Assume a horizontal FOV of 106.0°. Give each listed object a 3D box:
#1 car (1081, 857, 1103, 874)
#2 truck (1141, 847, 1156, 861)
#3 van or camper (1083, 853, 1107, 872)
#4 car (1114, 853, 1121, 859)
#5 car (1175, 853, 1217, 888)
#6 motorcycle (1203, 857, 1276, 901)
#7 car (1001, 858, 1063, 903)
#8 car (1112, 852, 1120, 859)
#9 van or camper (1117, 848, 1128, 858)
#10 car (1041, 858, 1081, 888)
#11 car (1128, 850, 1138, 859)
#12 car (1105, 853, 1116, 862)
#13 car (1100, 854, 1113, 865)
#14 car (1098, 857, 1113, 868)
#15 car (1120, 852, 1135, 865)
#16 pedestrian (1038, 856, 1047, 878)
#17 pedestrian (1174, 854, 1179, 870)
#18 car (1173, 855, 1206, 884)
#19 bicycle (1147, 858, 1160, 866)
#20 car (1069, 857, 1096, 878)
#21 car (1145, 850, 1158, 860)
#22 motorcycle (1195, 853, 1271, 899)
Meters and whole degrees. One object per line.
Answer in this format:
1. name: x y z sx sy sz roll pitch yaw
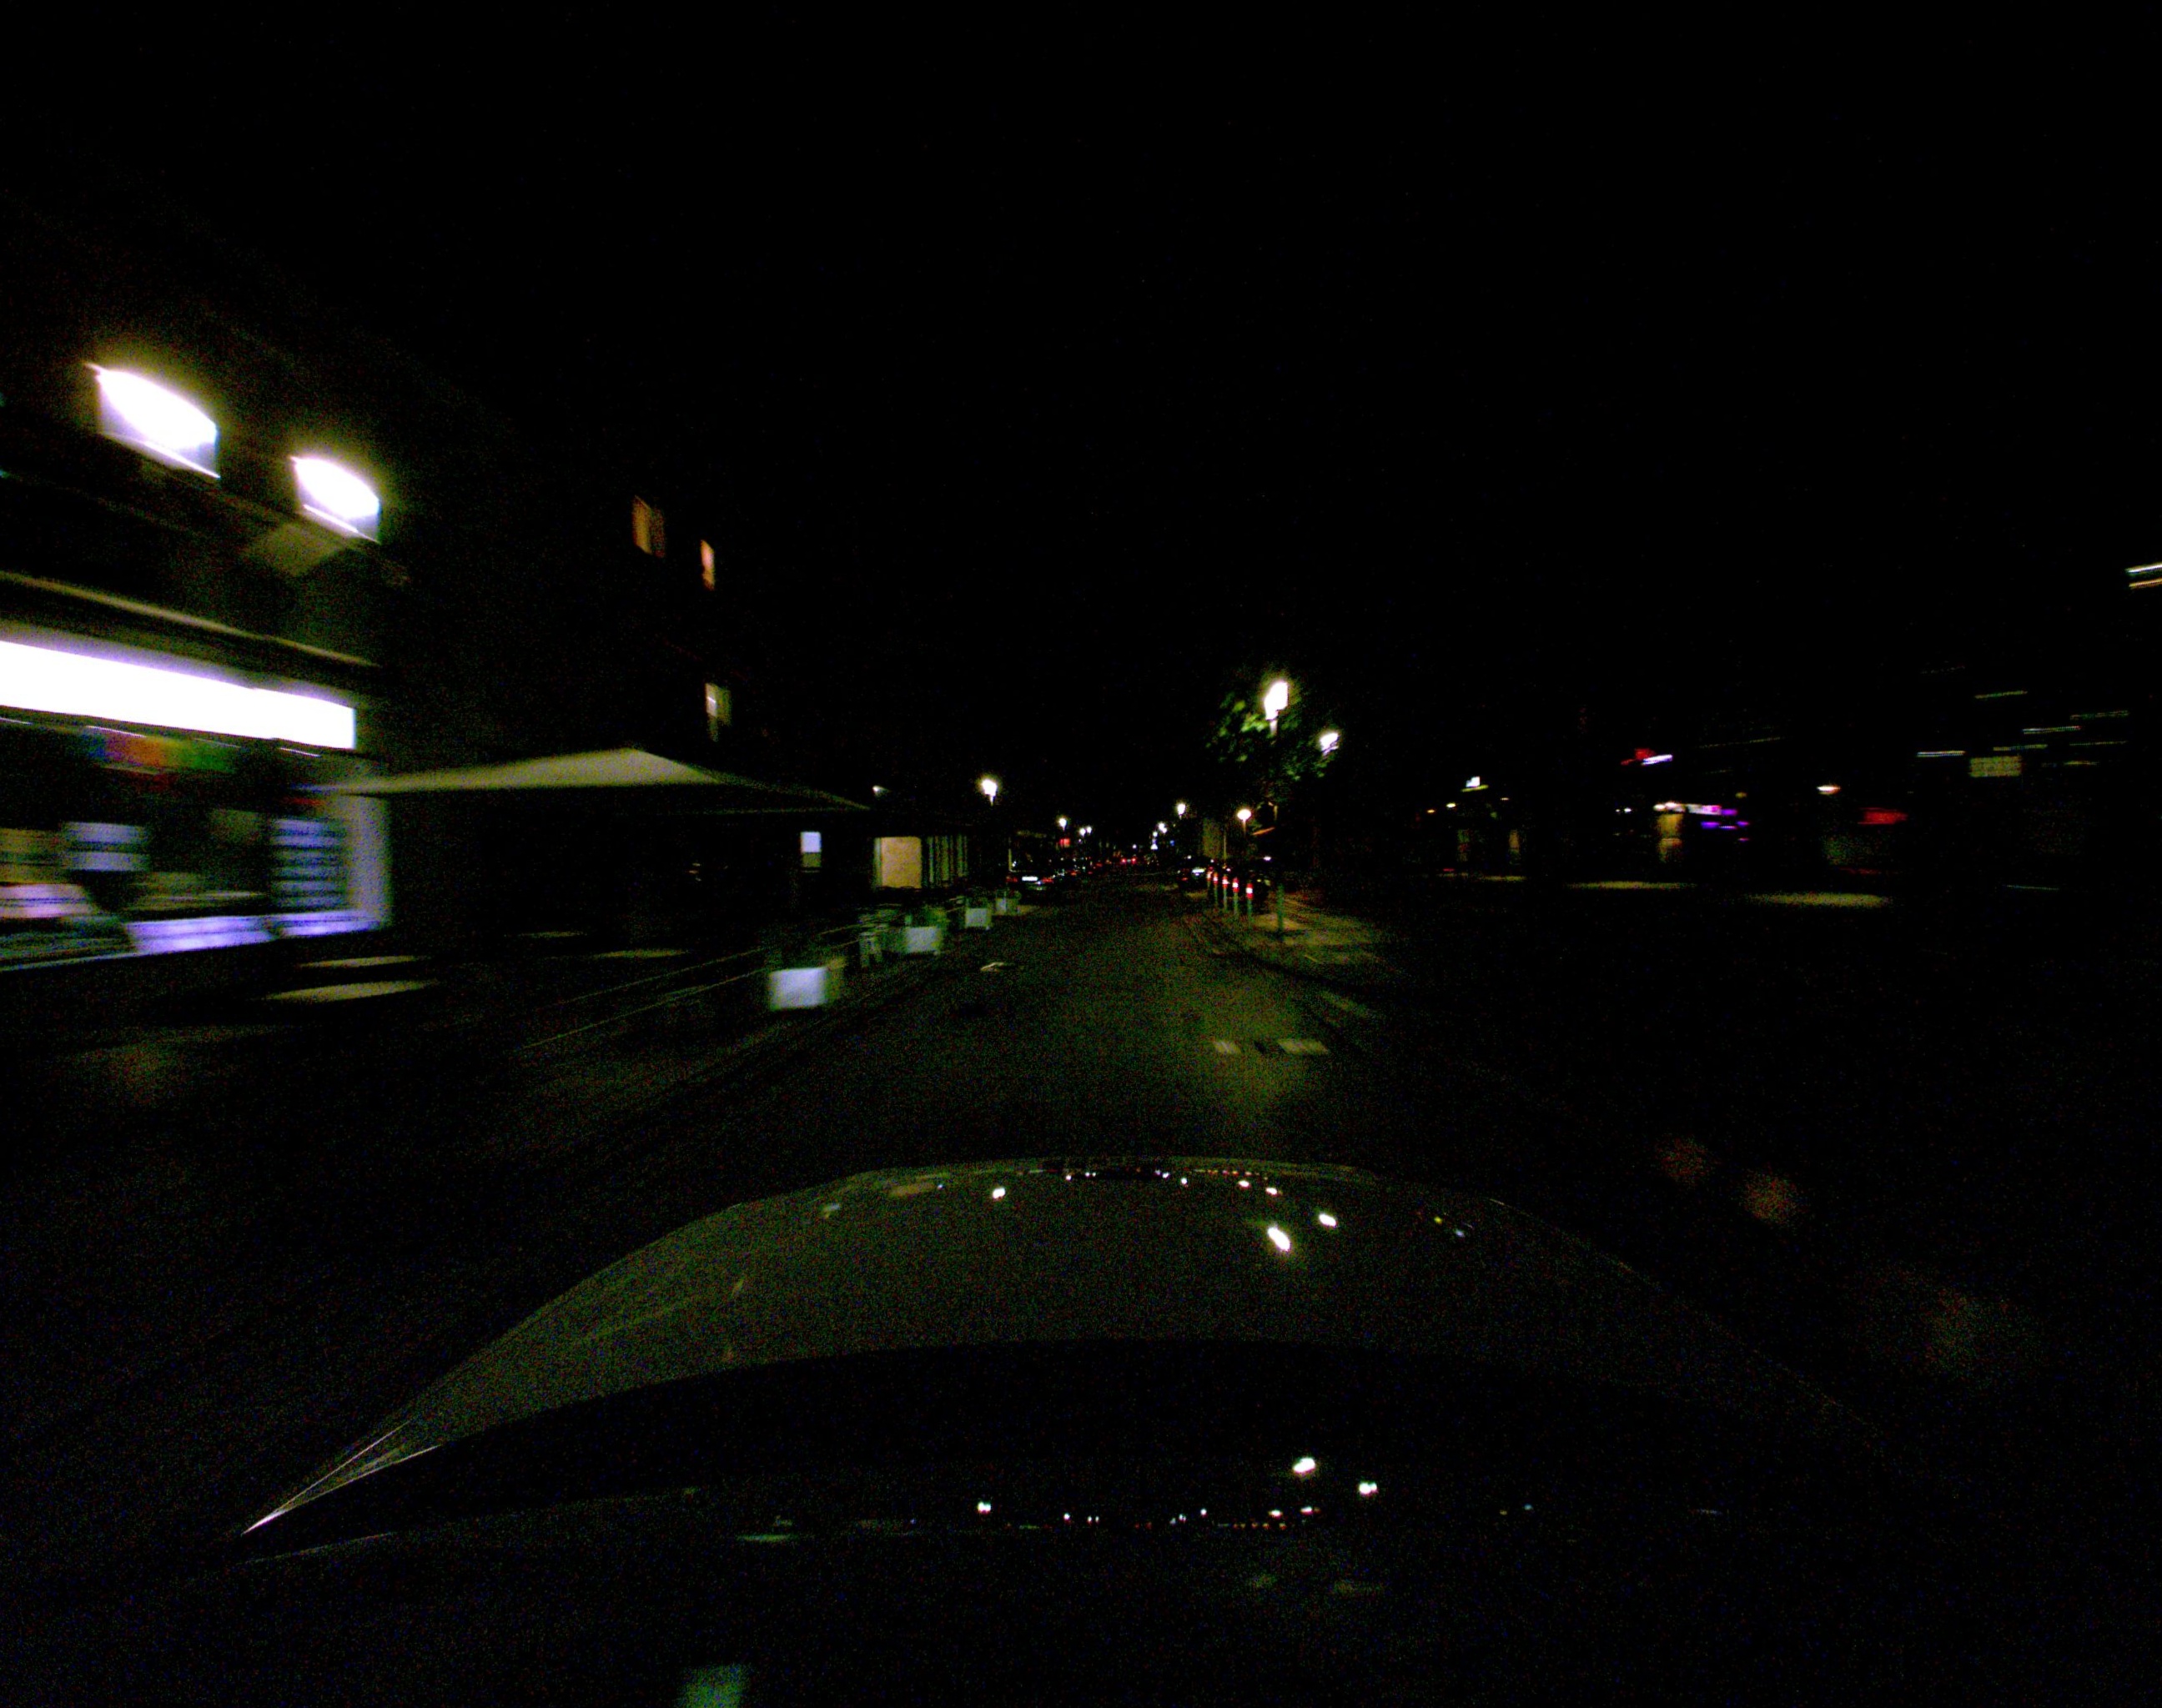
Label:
1. car: 1.001 1.014 73.851 1.709 1.413 4.390 0 0 4
2. truck: 11.633 -0.075 141.025 2.327 2.312 5.785 -2 0 3
3. van or camper: 1.524 0.911 86.035 1.835 1.942 5.166 -1 0 9
4. car: 9.564 0.458 215.299 1.527 1.418 3.842 -2 0 -2
5. car: 5.348 0.751 38.221 1.744 1.464 4.475 -3 -1 7
6. motorcycle: 4.764 0.765 24.591 2.143 1.297 0.519 -3 -1 41
7. car: -1.690 0.901 29.657 1.893 1.470 4.525 -1 0 1
8. car: 9.484 0.370 221.642 1.835 1.901 3.842 -2 0 -2
9. van or camper: 10.254 -0.202 202.482 2.104 2.317 4.256 -3 0 -4
10. car: -0.977 0.924 41.310 1.838 1.464 4.623 0 0 1
11. car: 11.244 0.116 176.507 1.811 1.828 4.342 -2 0 -3
12. car: 5.333 0.675 145.933 1.669 1.543 4.226 -1 0 -3
13. car: 3.481 0.694 112.357 1.721 1.477 3.849 0 0 2
14. car: 3.562 1.206 117.871 2.011 1.488 5.011 1 0 3
15. car: 6.585 0.620 115.721 1.986 1.823 4.002 -1 0 2
16. pedestrian: -3.150 1.061 66.791 0.618 1.745 1.024 -1 -1 4
17. pedestrian: 9.396 0.764 80.221 0.498 1.547 0.481 -1 -1 9
18. car: 5.823 0.818 43.973 1.652 1.377 4.111 -3 -1 7
19. bicycle: 10.090 1.069 113.970 1.748 1.062 0.346 -2 0 0
20. car: 0.157 0.943 59.436 1.790 1.478 4.324 0 -1 3
21. car: 10.786 0.116 125.068 1.781 1.491 4.063 -3 0 4
22. motorcycle: 4.886 0.712 26.190 2.242 1.391 0.665 -2 -1 28
